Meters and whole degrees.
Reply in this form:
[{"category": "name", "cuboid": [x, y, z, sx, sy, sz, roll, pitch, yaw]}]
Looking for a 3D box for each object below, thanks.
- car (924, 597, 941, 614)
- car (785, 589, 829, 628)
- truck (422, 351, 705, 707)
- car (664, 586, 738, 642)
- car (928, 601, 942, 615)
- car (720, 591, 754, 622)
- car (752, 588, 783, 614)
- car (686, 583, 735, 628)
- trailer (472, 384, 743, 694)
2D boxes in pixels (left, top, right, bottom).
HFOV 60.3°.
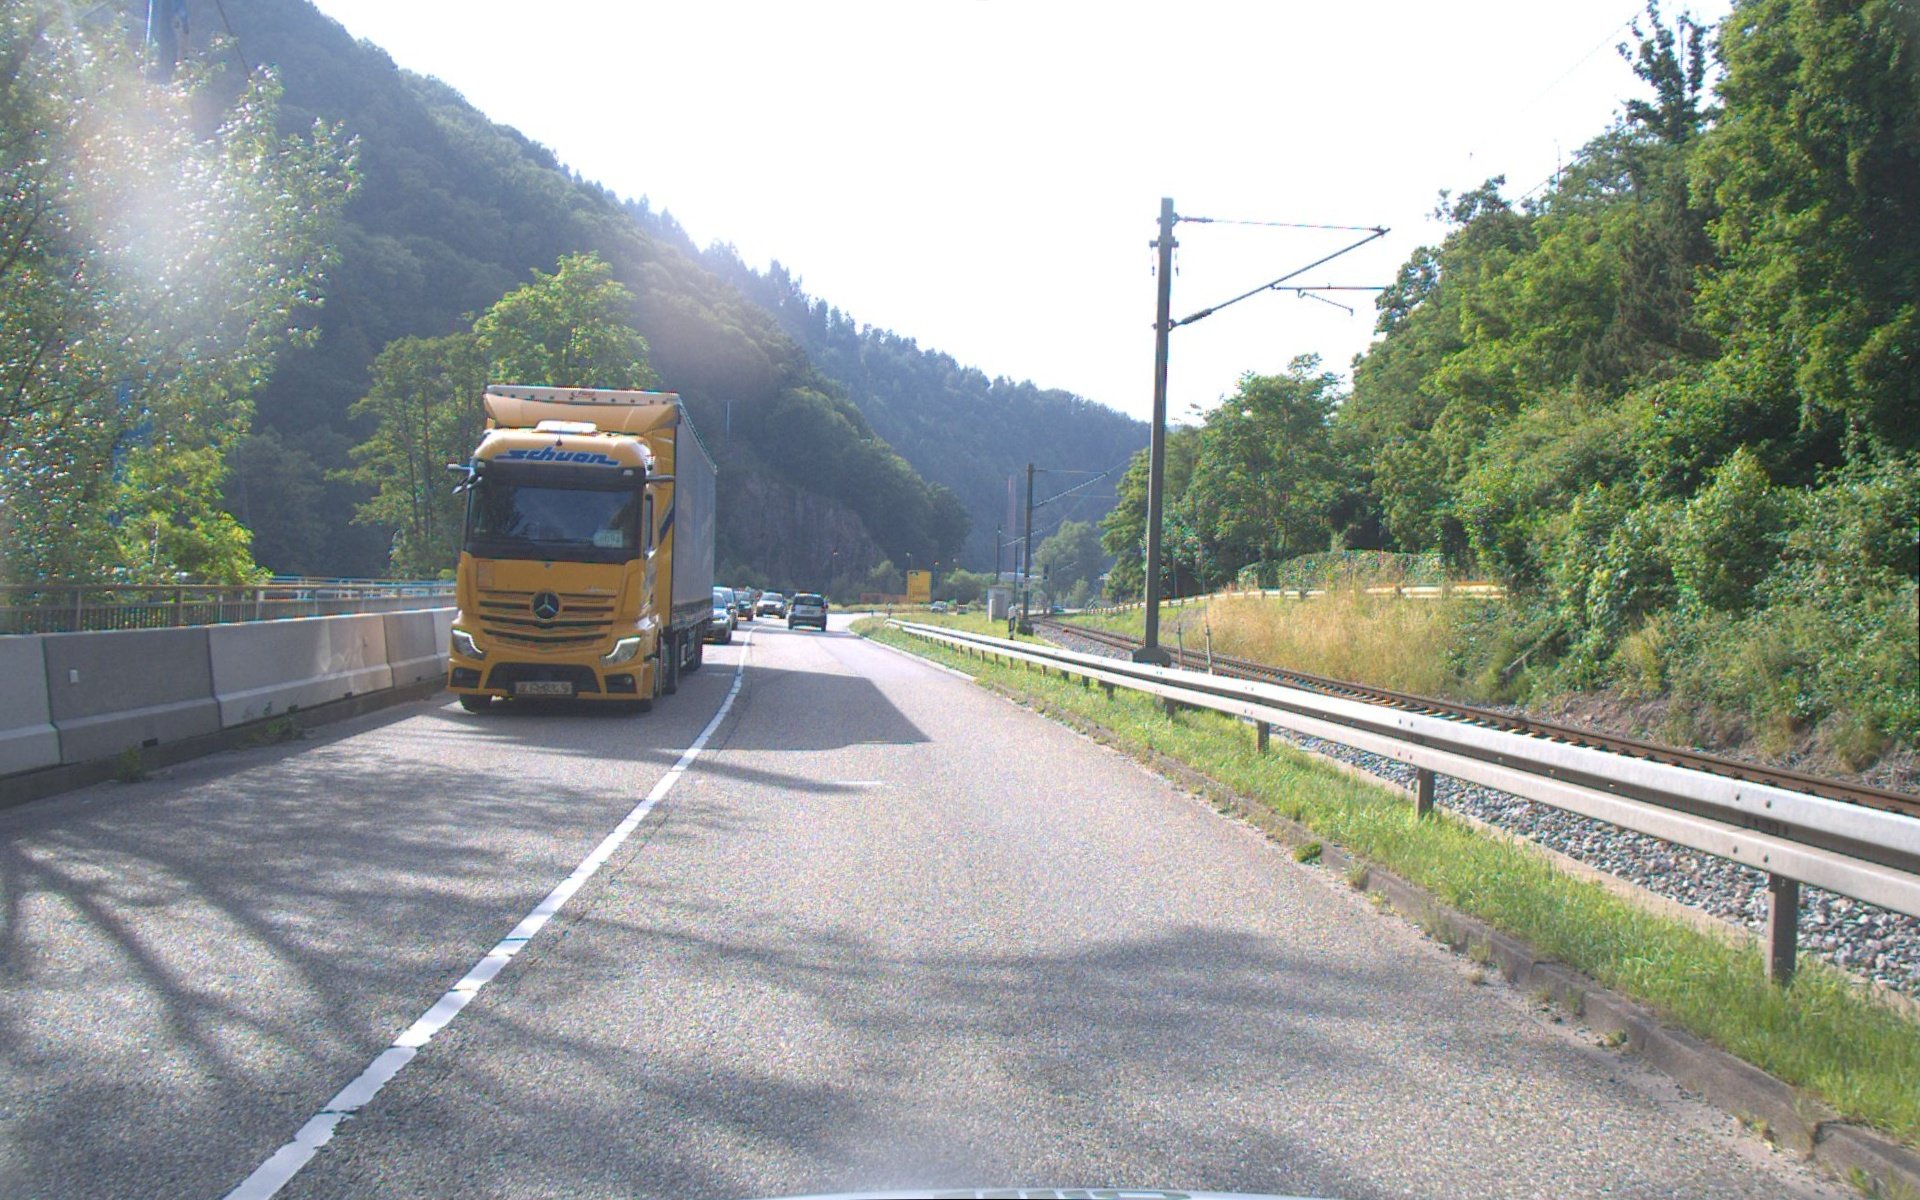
[{"category": "car", "cuboid": [-3.263, 0.684, 198.597, 1.952, 2.049, 4.000, 1, 0, 1]}, {"category": "car", "cuboid": [-7.063, 0.388, 76.572, 1.954, 1.754, 3.986, 1, 0, -5]}, {"category": "truck", "cuboid": [-5.091, -0.828, 22.400, 2.687, 4.098, 6.406, 1, 0, -4]}, {"category": "car", "cuboid": [-7.617, 0.405, 49.061, 1.801, 1.522, 4.930, 2, 0, -5]}, {"category": "car", "cuboid": [-3.539, 1.162, 235.190, 1.813, 1.815, 4.684, 4, 0, 0]}, {"category": "car", "cuboid": [-12.412, 0.332, 92.358, 1.765, 1.583, 4.325, 3, 0, -7]}, {"category": "car", "cuboid": [-13.298, 0.071, 114.517, 1.955, 1.657, 4.501, 3, 0, -6]}, {"category": "car", "cuboid": [-10.073, 0.197, 67.004, 1.739, 1.699, 4.640, 1, 0, -7]}, {"category": "trailer", "cuboid": [-5.572, -0.840, 28.812, 2.801, 4.083, 13.657, 1, 0, -5]}]
